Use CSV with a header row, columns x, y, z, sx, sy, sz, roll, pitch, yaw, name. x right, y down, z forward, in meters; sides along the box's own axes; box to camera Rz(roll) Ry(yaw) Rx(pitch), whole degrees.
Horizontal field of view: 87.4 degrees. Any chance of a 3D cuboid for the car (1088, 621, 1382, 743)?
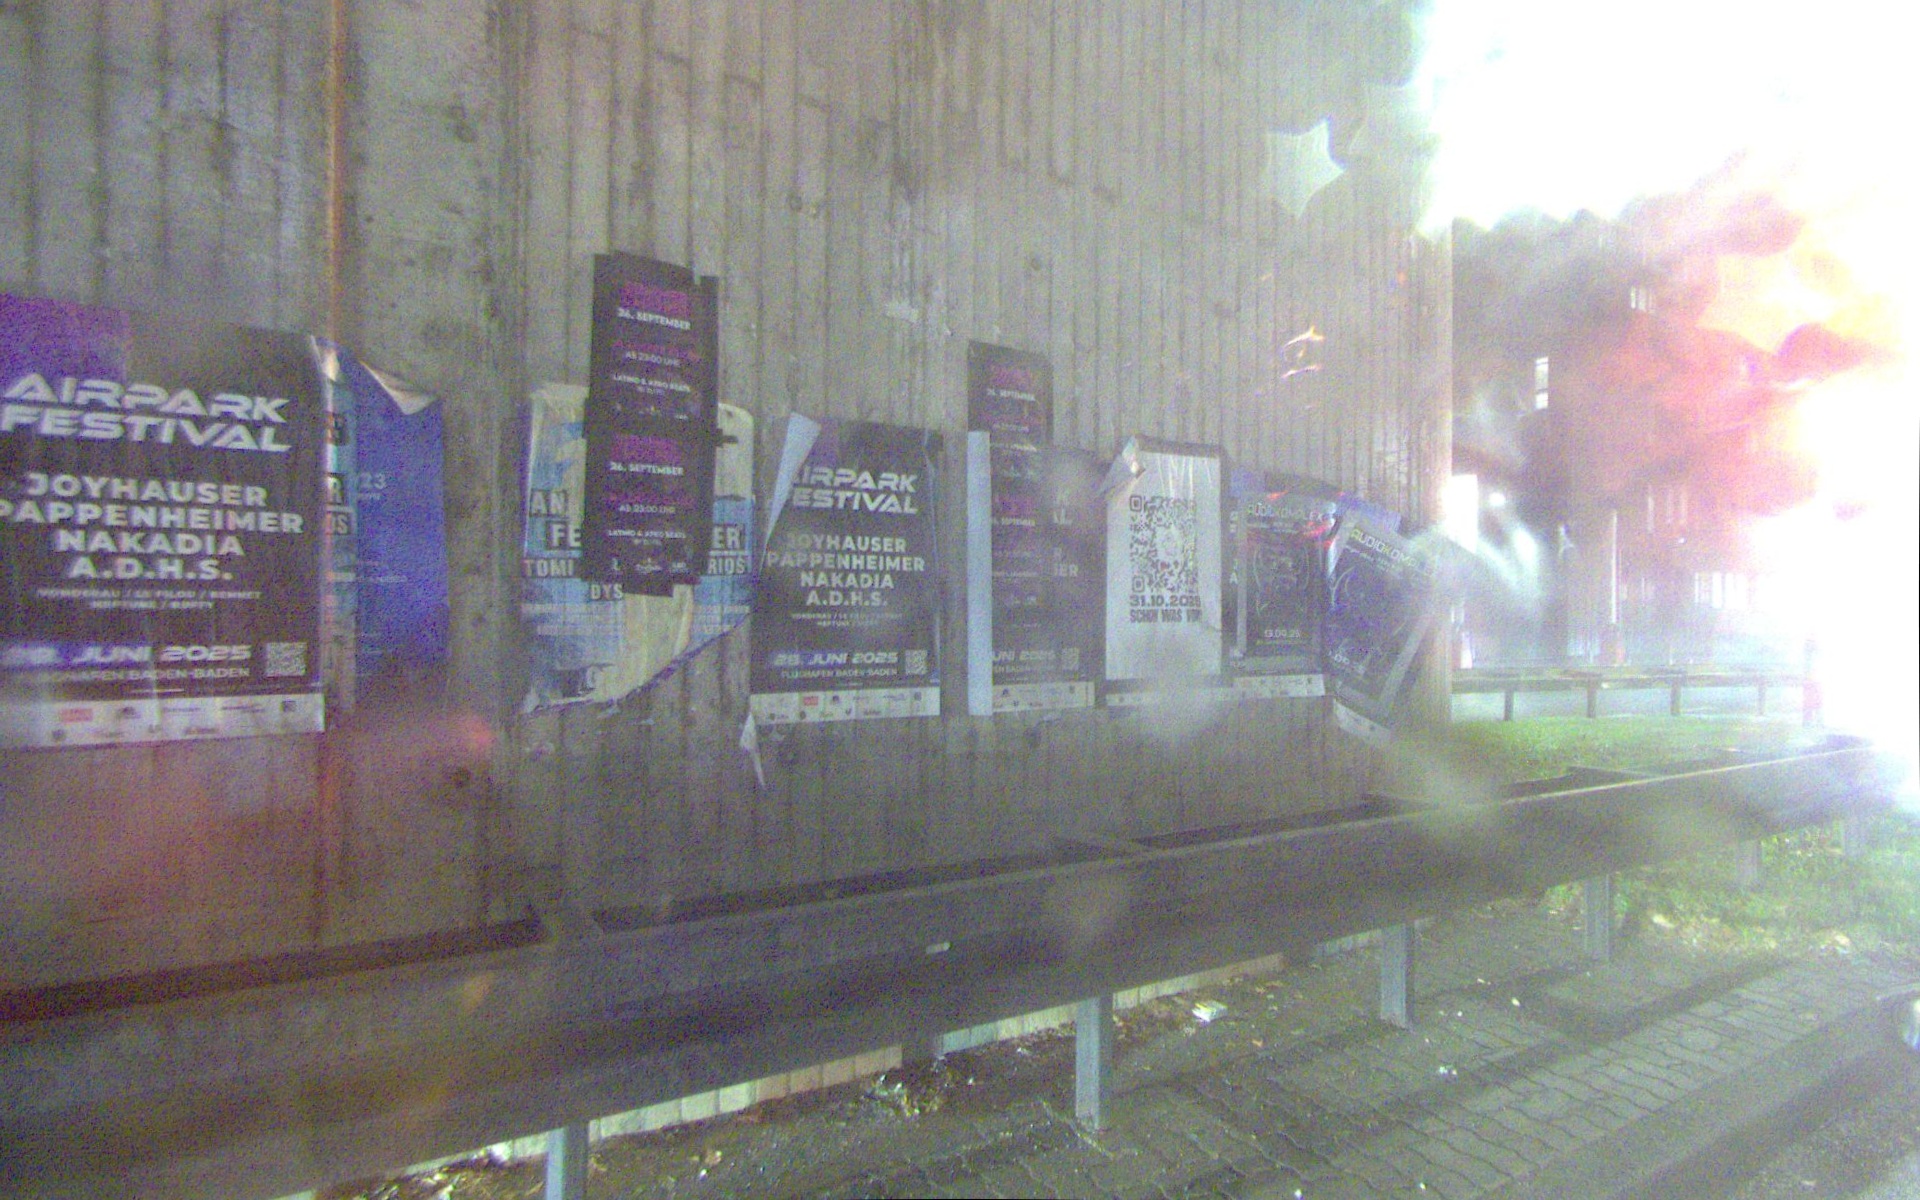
x,y,z,sx,sy,sz,roll,pitch,yaw,name
4.148,1.146,14.983,4.280,1.590,1.762,2,-2,-30,car
